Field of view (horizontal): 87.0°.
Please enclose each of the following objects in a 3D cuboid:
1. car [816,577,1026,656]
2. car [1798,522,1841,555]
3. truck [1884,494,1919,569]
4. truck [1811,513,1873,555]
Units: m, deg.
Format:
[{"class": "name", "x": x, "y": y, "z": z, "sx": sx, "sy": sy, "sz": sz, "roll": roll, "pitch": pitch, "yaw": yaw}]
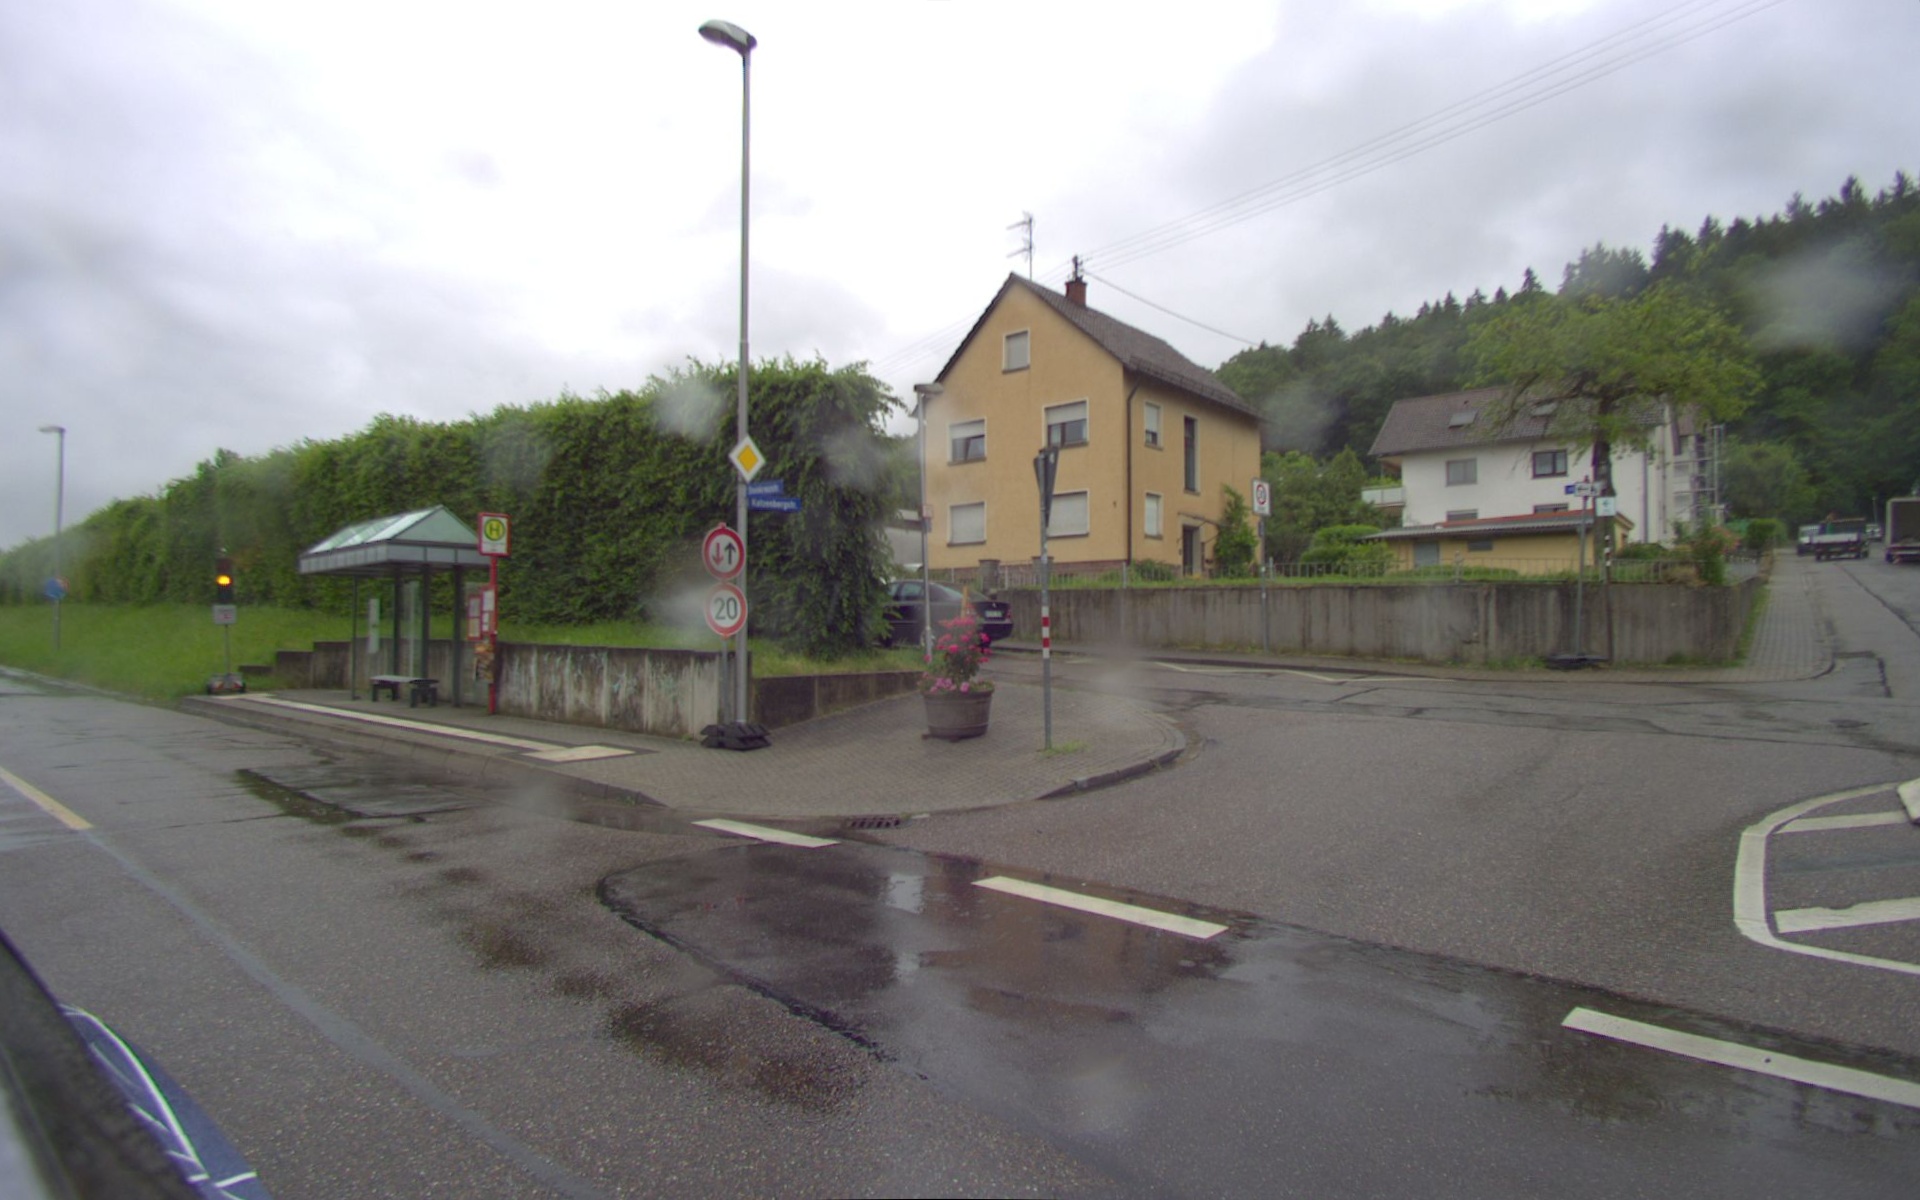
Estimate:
[{"class": "car", "x": -0.867, "y": 0.278, "z": 20.672, "sx": 4.220, "sy": 1.399, "sz": 1.726, "roll": 2, "pitch": 1, "yaw": 41}, {"class": "car", "x": 56.359, "y": -3.992, "z": 66.404, "sx": 1.913, "sy": 2.028, "sz": 3.950, "roll": 0, "pitch": 2, "yaw": 37}, {"class": "truck", "x": 45.922, "y": -3.212, "z": 48.316, "sx": 2.452, "sy": 3.377, "sz": 6.568, "roll": -1, "pitch": 1, "yaw": 41}, {"class": "truck", "x": 49.874, "y": -3.683, "z": 57.159, "sx": 2.301, "sy": 2.142, "sz": 5.992, "roll": -1, "pitch": 1, "yaw": 44}]
